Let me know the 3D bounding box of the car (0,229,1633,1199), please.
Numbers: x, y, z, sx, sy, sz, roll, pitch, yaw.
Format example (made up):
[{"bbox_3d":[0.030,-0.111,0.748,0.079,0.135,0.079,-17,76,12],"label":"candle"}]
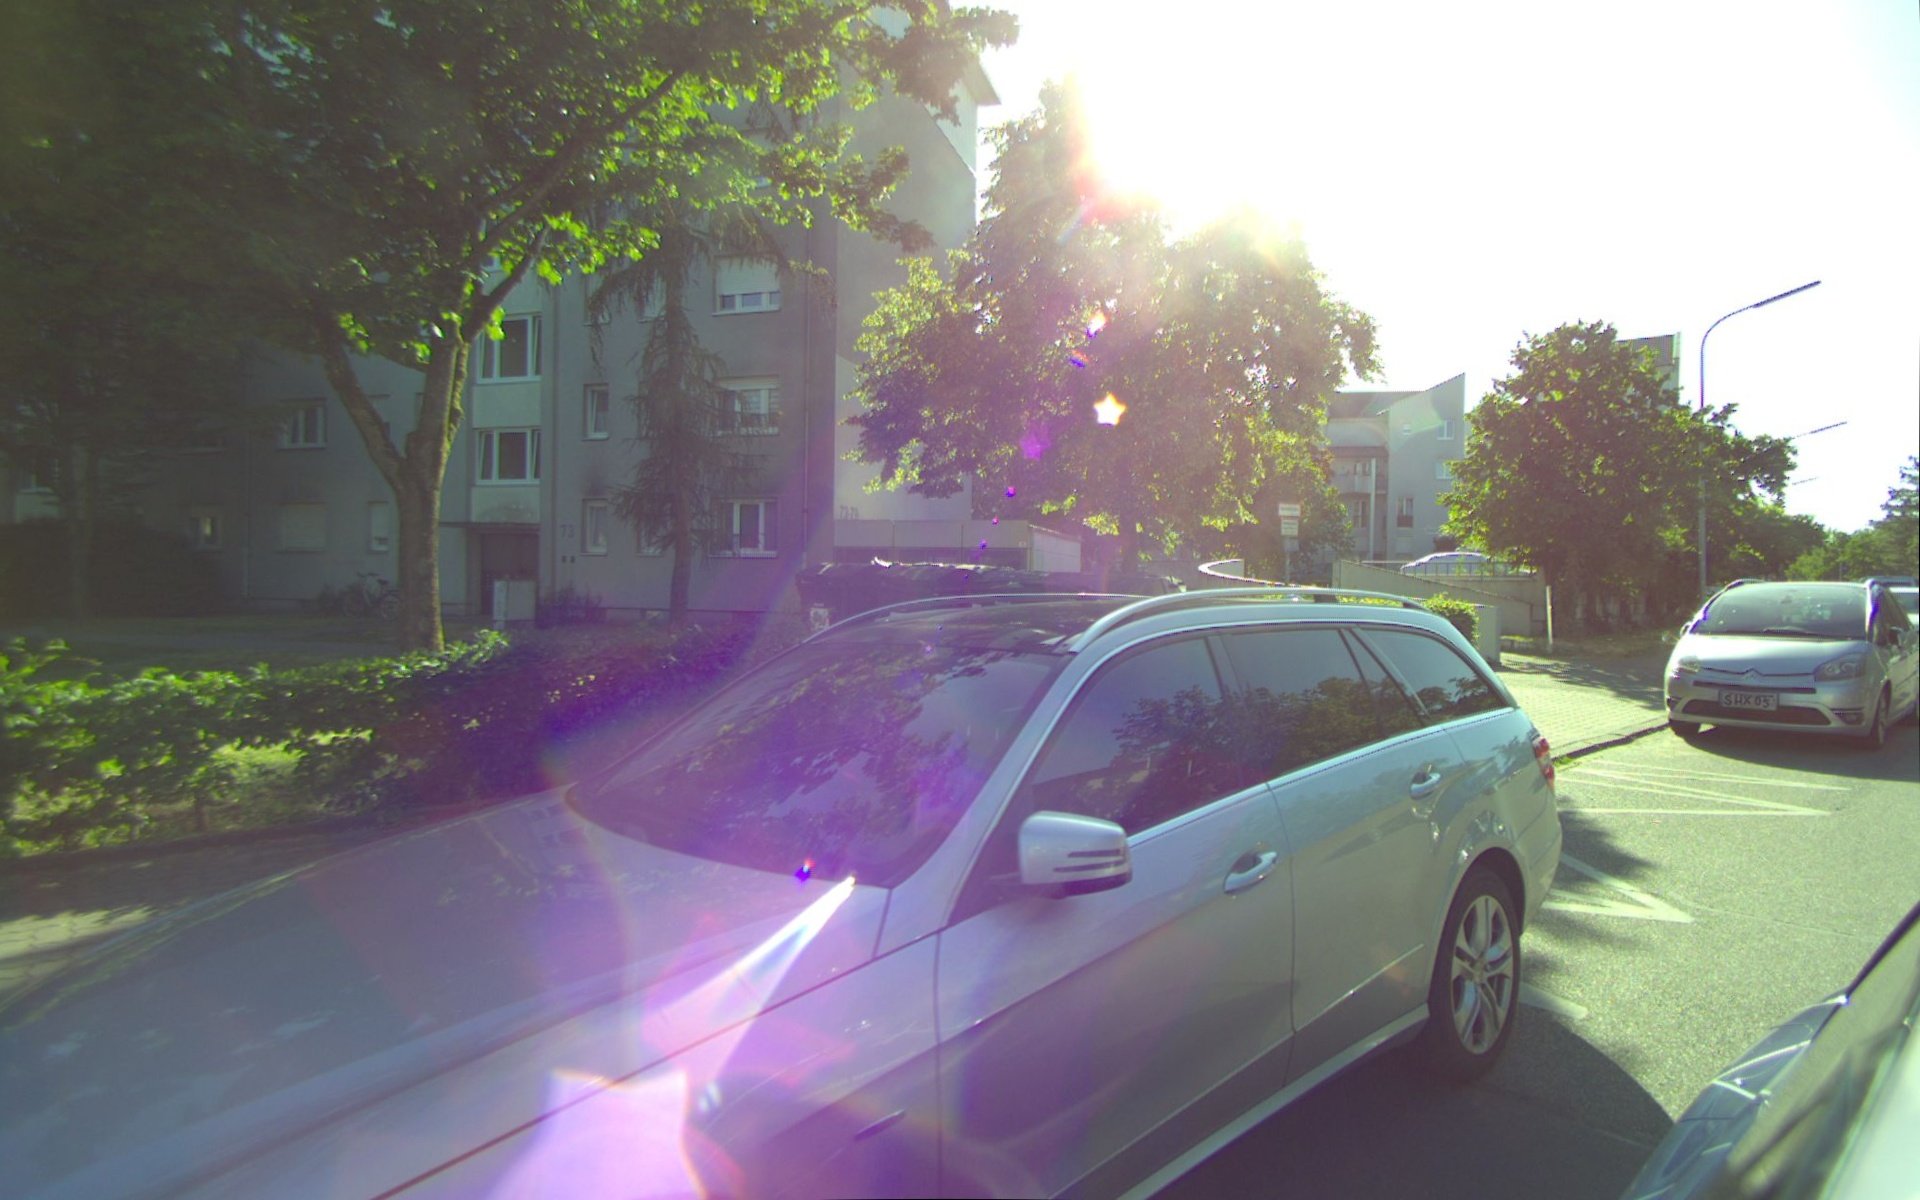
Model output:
[{"bbox_3d":[0.126,0.426,2.920,4.559,1.565,1.834,0,1,-40],"label":"car"}]

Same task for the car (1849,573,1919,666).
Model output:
[{"bbox_3d":[18.963,0.327,20.040,1.755,1.695,4.342,1,1,45],"label":"car"}]

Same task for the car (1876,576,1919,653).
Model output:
[{"bbox_3d":[22.700,0.303,23.633,1.755,1.707,3.919,1,1,45],"label":"car"}]

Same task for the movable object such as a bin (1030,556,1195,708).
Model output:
[{"bbox_3d":[1.610,0.289,10.735,1.325,1.445,1.053,5,4,43],"label":"movable object such as a bin"}]

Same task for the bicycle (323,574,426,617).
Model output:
[{"bbox_3d":[-13.256,-0.112,22.892,2.385,0.853,0.544,2,1,18],"label":"bicycle"}]

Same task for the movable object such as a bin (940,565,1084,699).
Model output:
[{"bbox_3d":[0.598,0.326,11.762,1.324,1.449,1.013,1,1,43],"label":"movable object such as a bin"}]

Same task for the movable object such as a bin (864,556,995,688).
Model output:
[{"bbox_3d":[-0.395,0.238,12.739,1.324,1.556,1.013,1,1,43],"label":"movable object such as a bin"}]

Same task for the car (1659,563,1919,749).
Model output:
[{"bbox_3d":[9.383,0.464,11.079,4.416,1.647,1.758,0,1,-40],"label":"car"}]

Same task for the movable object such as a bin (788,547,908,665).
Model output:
[{"bbox_3d":[-1.531,0.061,13.773,1.322,1.499,1.013,1,1,43],"label":"movable object such as a bin"}]
